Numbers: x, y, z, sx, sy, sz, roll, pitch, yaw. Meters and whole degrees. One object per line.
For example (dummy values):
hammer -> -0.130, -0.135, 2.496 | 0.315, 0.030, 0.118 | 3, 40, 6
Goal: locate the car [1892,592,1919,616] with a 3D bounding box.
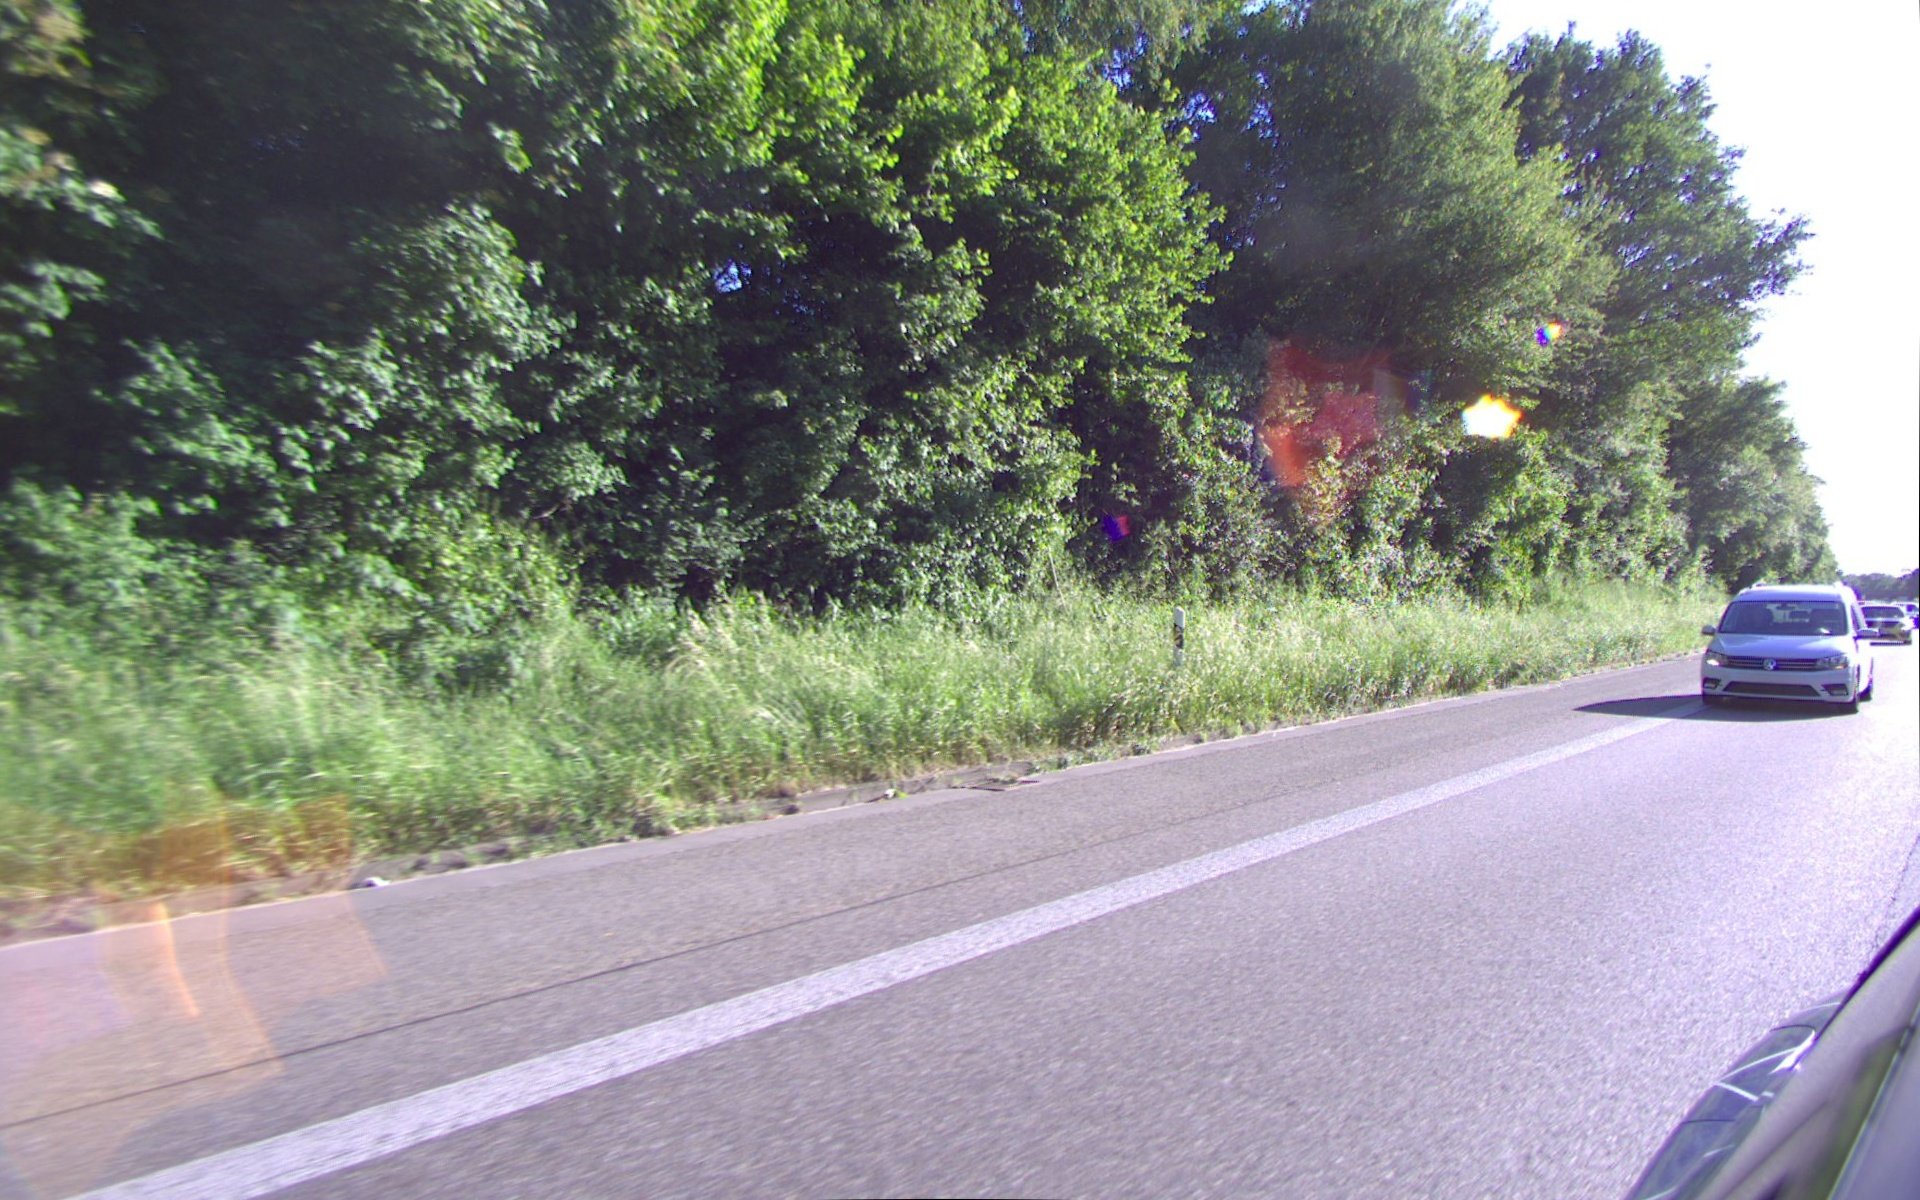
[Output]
car -> 58.300, 0.233, 61.847 | 1.788, 1.467, 3.820 | 0, 0, 41

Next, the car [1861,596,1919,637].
car -> 35.442, 0.589, 38.399 | 1.788, 1.467, 3.820 | 0, 0, 41

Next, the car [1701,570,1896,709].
car -> 12.933, 0.485, 15.504 | 4.511, 1.835, 1.800 | -1, 1, -44
